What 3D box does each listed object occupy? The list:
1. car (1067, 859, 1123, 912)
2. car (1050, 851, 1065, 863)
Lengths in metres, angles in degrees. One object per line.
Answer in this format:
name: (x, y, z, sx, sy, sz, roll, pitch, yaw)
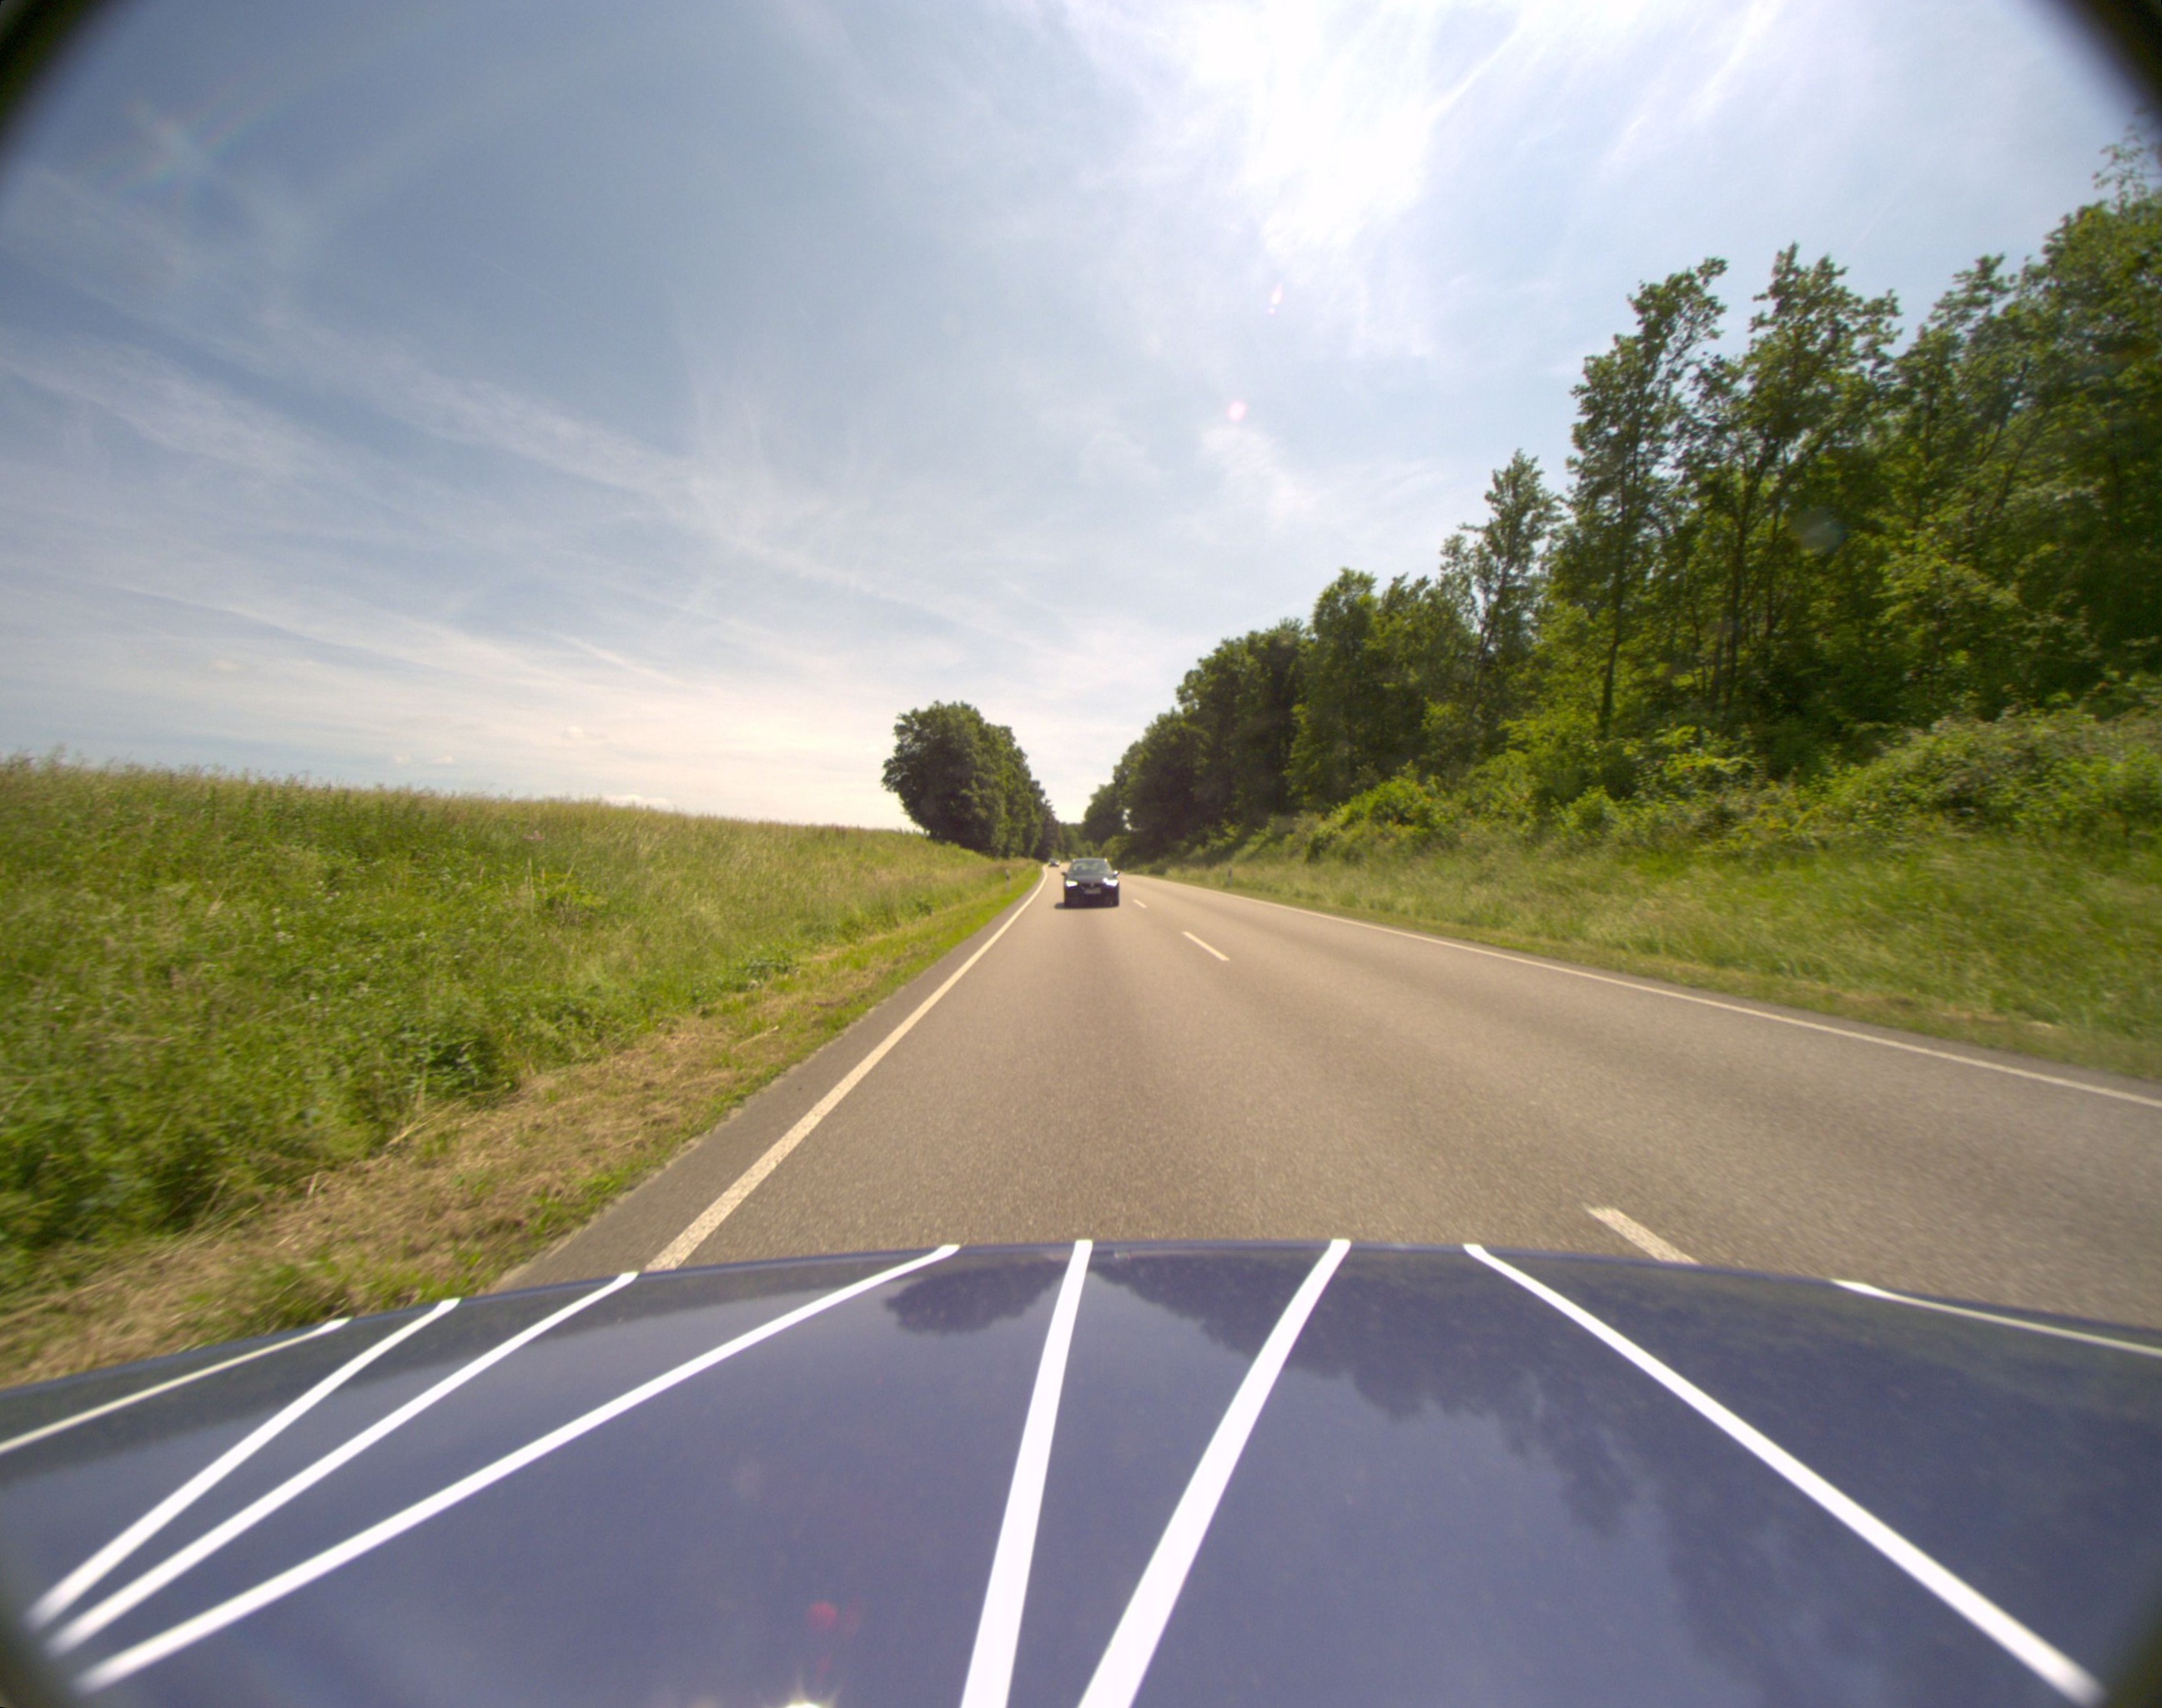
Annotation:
car: (0.497, 0.953, 24.533, 1.661, 1.531, 3.487, -1, 0, 3)
car: (-4.153, 0.525, 133.729, 2.000, 2.002, 3.997, -4, 0, -9)
